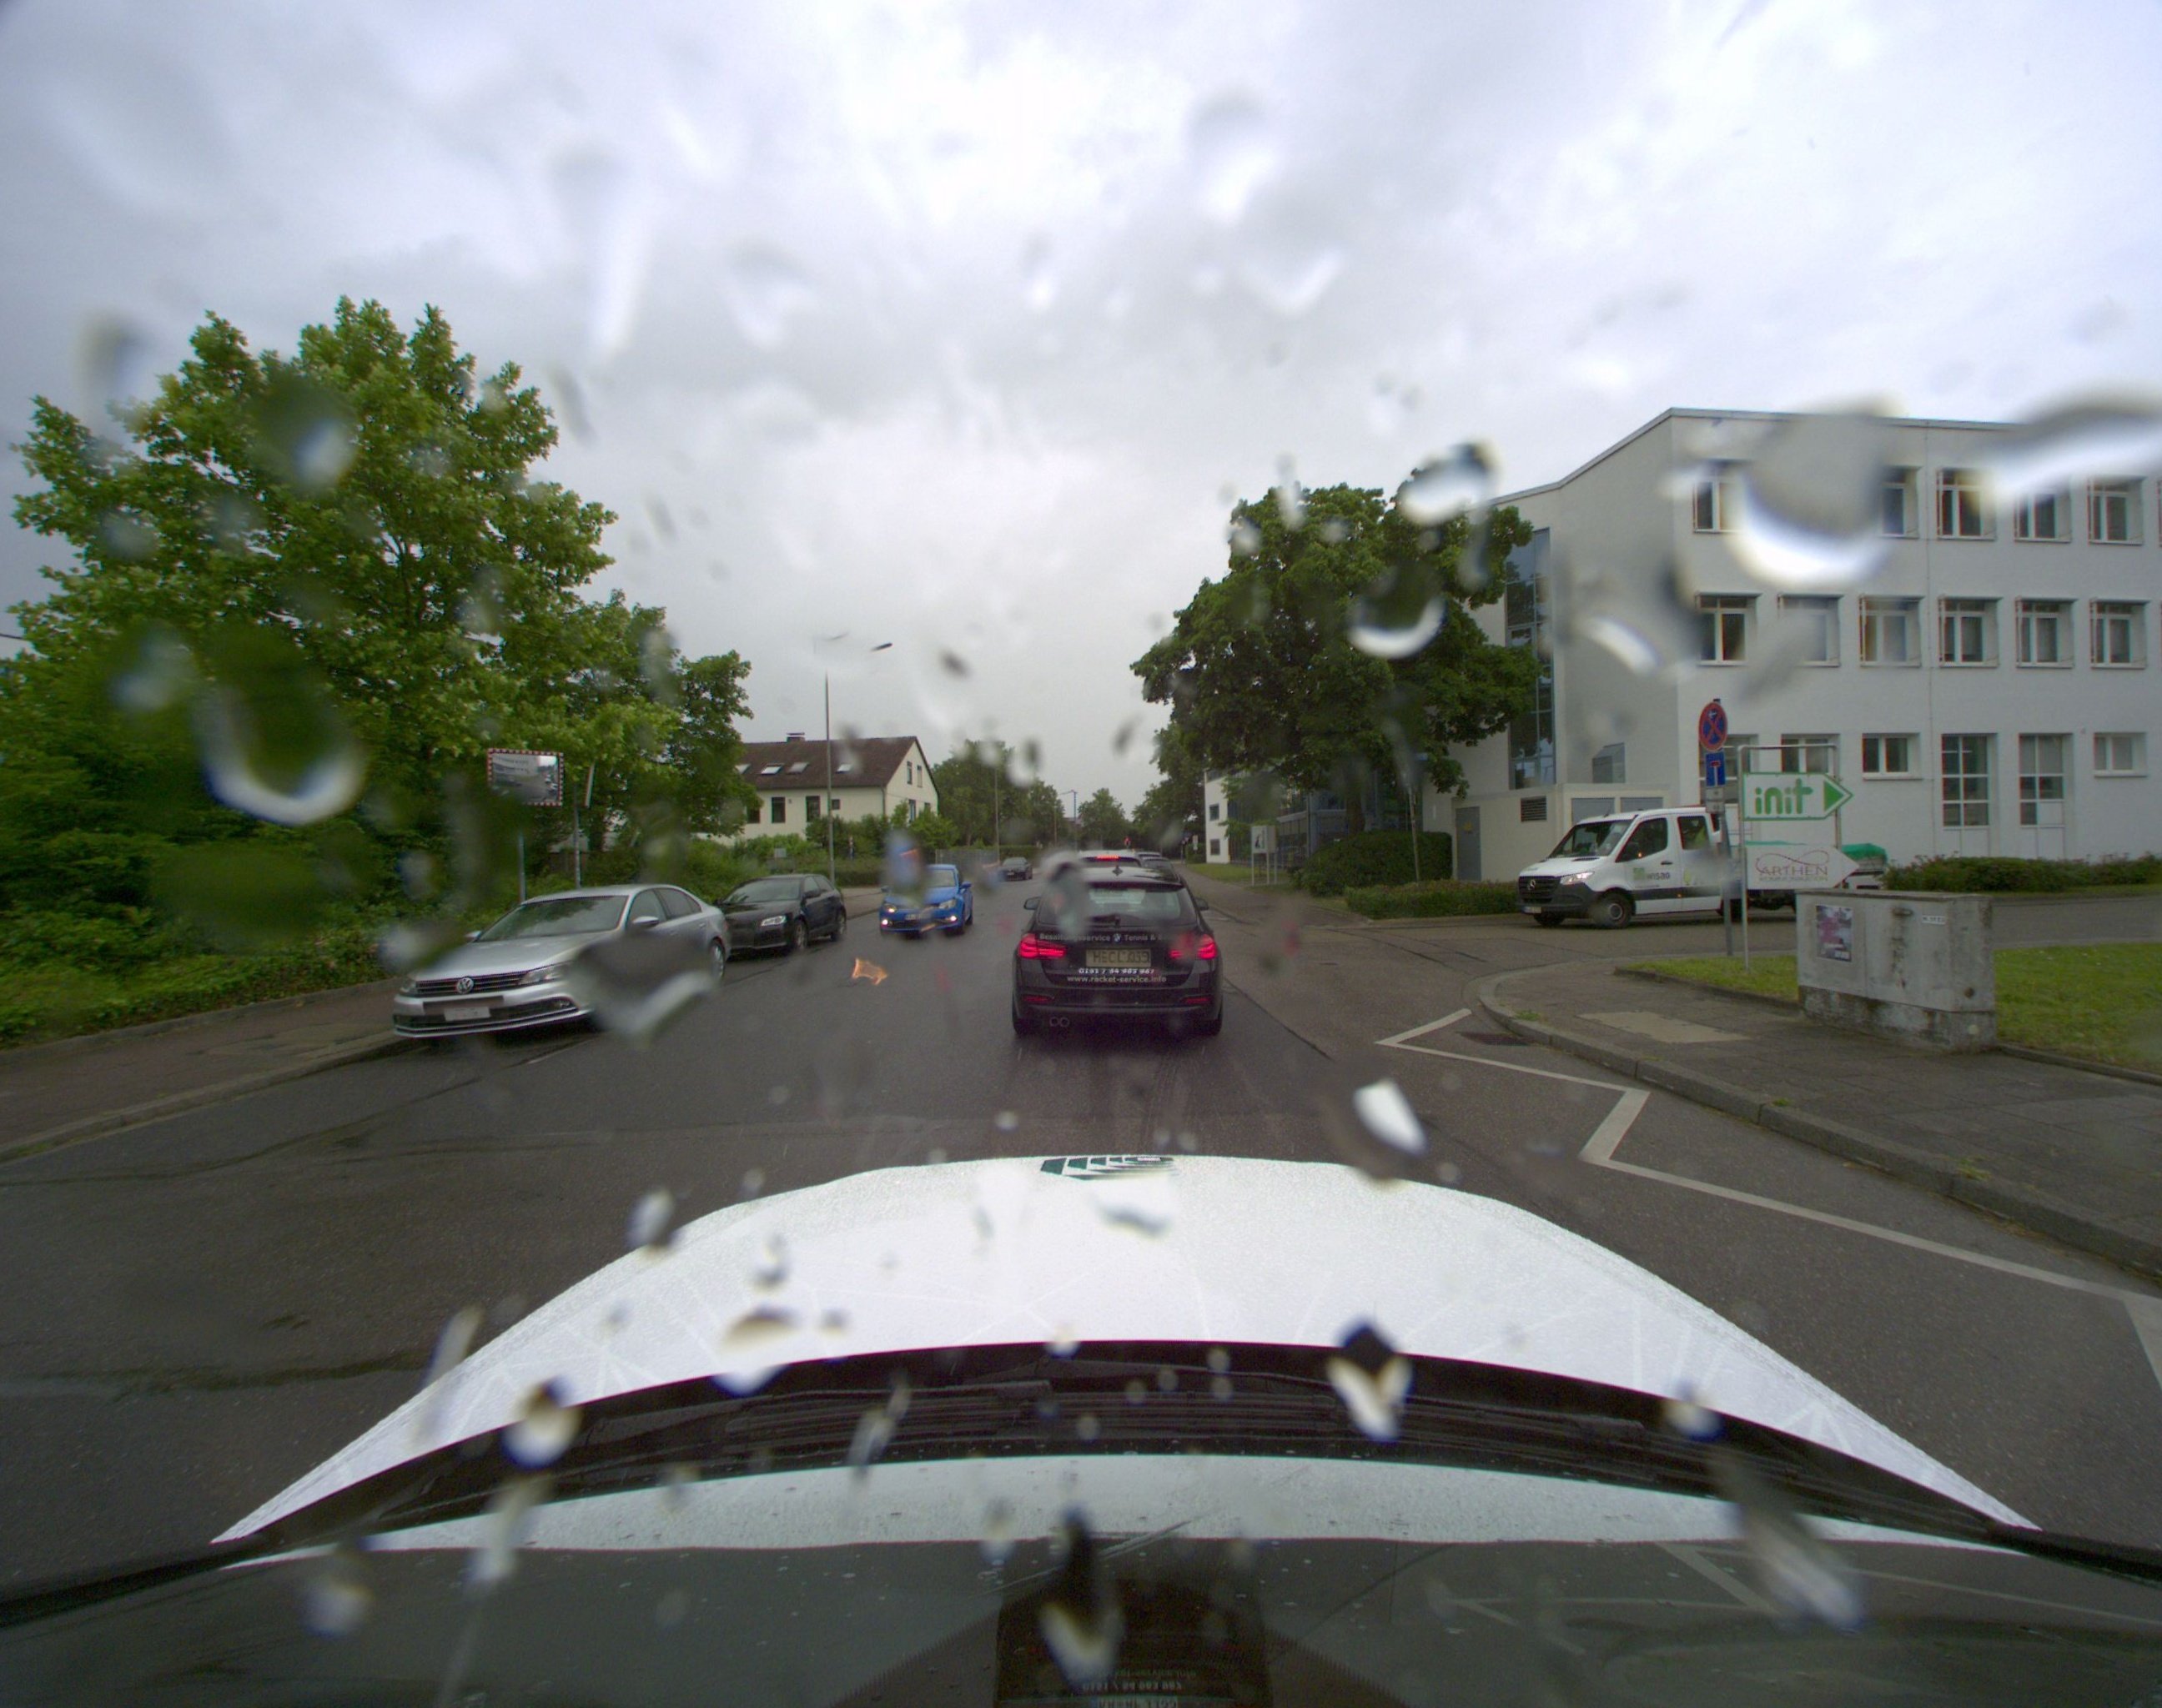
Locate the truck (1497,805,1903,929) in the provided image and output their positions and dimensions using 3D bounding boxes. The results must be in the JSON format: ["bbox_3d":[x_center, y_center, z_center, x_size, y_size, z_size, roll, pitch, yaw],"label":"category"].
[{"bbox_3d":[12.247,0.224,16.348,6.913,2.140,2.090,-1,0,-6],"label":"truck"}]

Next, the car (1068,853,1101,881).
[{"bbox_3d":[0.238,0.741,48.655,1.797,1.586,4.002,-1,-1,3],"label":"car"}]

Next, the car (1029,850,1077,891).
[{"bbox_3d":[-1.099,0.658,33.478,1.798,1.586,4.000,-1,-1,0],"label":"car"}]

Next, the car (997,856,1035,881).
[{"bbox_3d":[-4.112,0.895,52.044,1.697,1.367,3.844,-4,0,5],"label":"car"}]

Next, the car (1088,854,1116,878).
[{"bbox_3d":[1.475,0.815,55.657,1.797,1.586,4.002,-1,-1,3],"label":"car"}]

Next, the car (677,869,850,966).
[{"bbox_3d":[-5.644,1.057,15.026,1.701,1.367,3.835,-4,0,-2],"label":"car"}]

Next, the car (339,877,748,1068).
[{"bbox_3d":[-5.500,1.066,9.233,1.702,1.367,4.595,-4,0,-3],"label":"car"}]

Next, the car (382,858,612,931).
[{"bbox_3d":[-13.745,0.911,19.391,3.980,1.540,1.907,-1,0,-5],"label":"car"}]

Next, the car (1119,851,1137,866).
[{"bbox_3d":[5.064,0.504,88.373,1.797,1.586,4.002,-1,0,2],"label":"car"}]

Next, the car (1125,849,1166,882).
[{"bbox_3d":[3.251,0.592,41.557,1.798,1.586,4.000,-1,-1,0],"label":"car"}]

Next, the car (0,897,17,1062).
[{"bbox_3d":[-11.323,1.103,6.346,3.563,1.460,1.710,0,0,-4],"label":"car"}]

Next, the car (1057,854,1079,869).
[{"bbox_3d":[-1.306,0.732,83.910,1.697,1.367,3.844,-4,0,5],"label":"car"}]

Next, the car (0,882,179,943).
[{"bbox_3d":[-28.708,1.631,23.027,3.979,1.499,1.997,-2,0,-4],"label":"car"}]

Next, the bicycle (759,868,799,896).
[{"bbox_3d":[-14.030,1.290,37.845,1.664,1.213,0.492,-1,0,-26],"label":"bicycle"}]

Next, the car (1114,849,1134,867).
[{"bbox_3d":[4.046,0.376,77.378,1.797,1.586,4.002,-1,0,2],"label":"car"}]

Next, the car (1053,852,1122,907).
[{"bbox_3d":[0.128,0.766,25.699,1.801,1.586,3.993,-1,-1,-5],"label":"car"}]

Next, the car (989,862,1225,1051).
[{"bbox_3d":[0.072,0.794,8.217,1.801,1.395,3.994,-1,-1,-4],"label":"car"}]

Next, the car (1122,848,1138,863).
[{"bbox_3d":[5.695,0.172,95.227,1.797,1.586,4.002,-1,0,2],"label":"car"}]

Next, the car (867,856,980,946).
[{"bbox_3d":[-3.256,0.907,17.558,1.701,1.594,3.835,-4,0,-2],"label":"car"}]

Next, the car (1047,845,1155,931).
[{"bbox_3d":[0.301,0.655,17.240,1.802,1.586,3.992,-1,-1,-6],"label":"car"}]

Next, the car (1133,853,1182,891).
[{"bbox_3d":[3.335,0.765,36.189,1.798,1.586,4.000,-1,-1,0],"label":"car"}]

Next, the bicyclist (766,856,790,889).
[{"bbox_3d":[-14.078,0.847,37.830,0.944,1.516,0.609,-1,0,-26],"label":"bicyclist"}]
